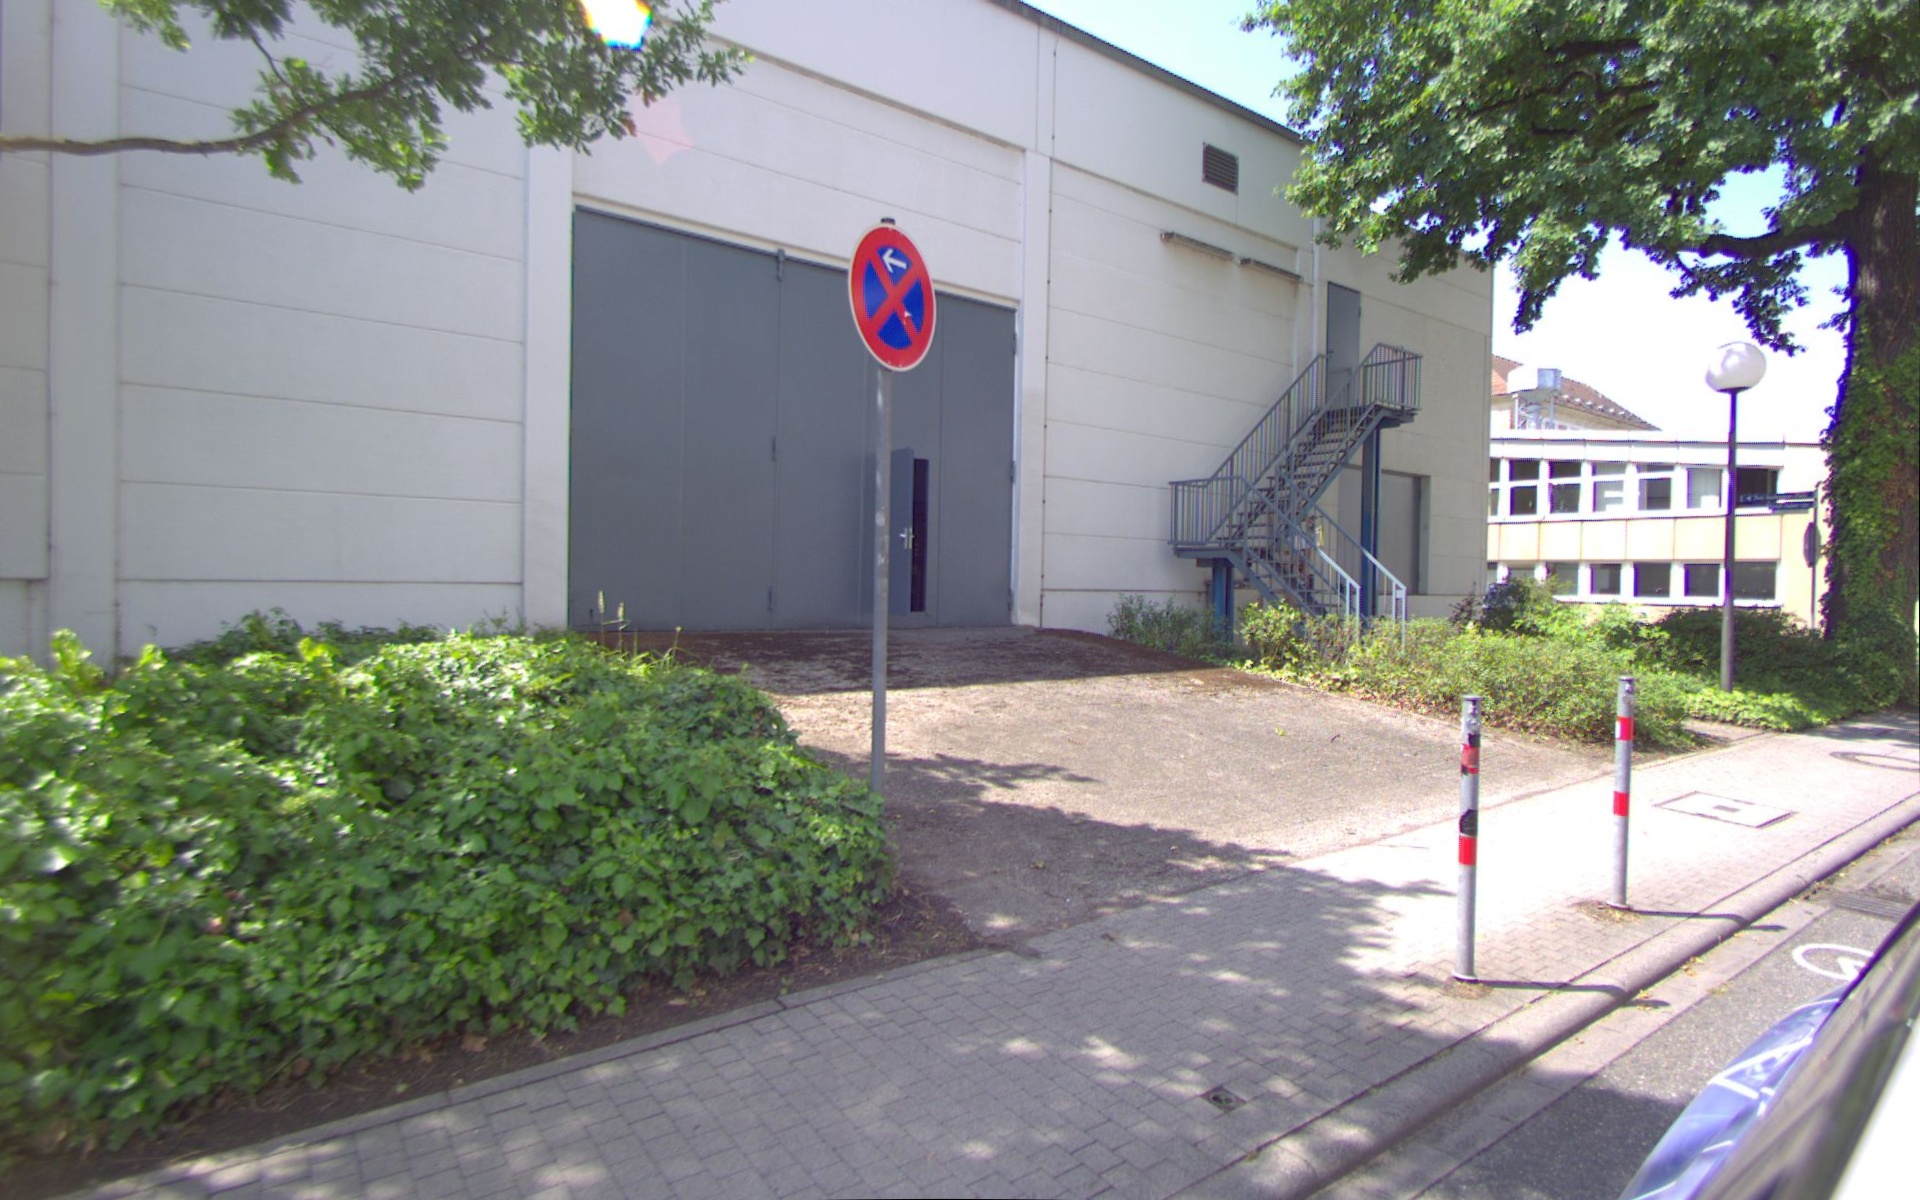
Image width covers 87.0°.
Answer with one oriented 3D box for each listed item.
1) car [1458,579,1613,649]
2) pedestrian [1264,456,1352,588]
[{"bbox_3d":[13.602,0.277,23.858,4.104,1.495,1.672,0,1,-37],"label":"car"},{"bbox_3d":[5.603,-1.227,16.309,0.931,2.038,0.930,0,1,-33],"label":"pedestrian"}]
